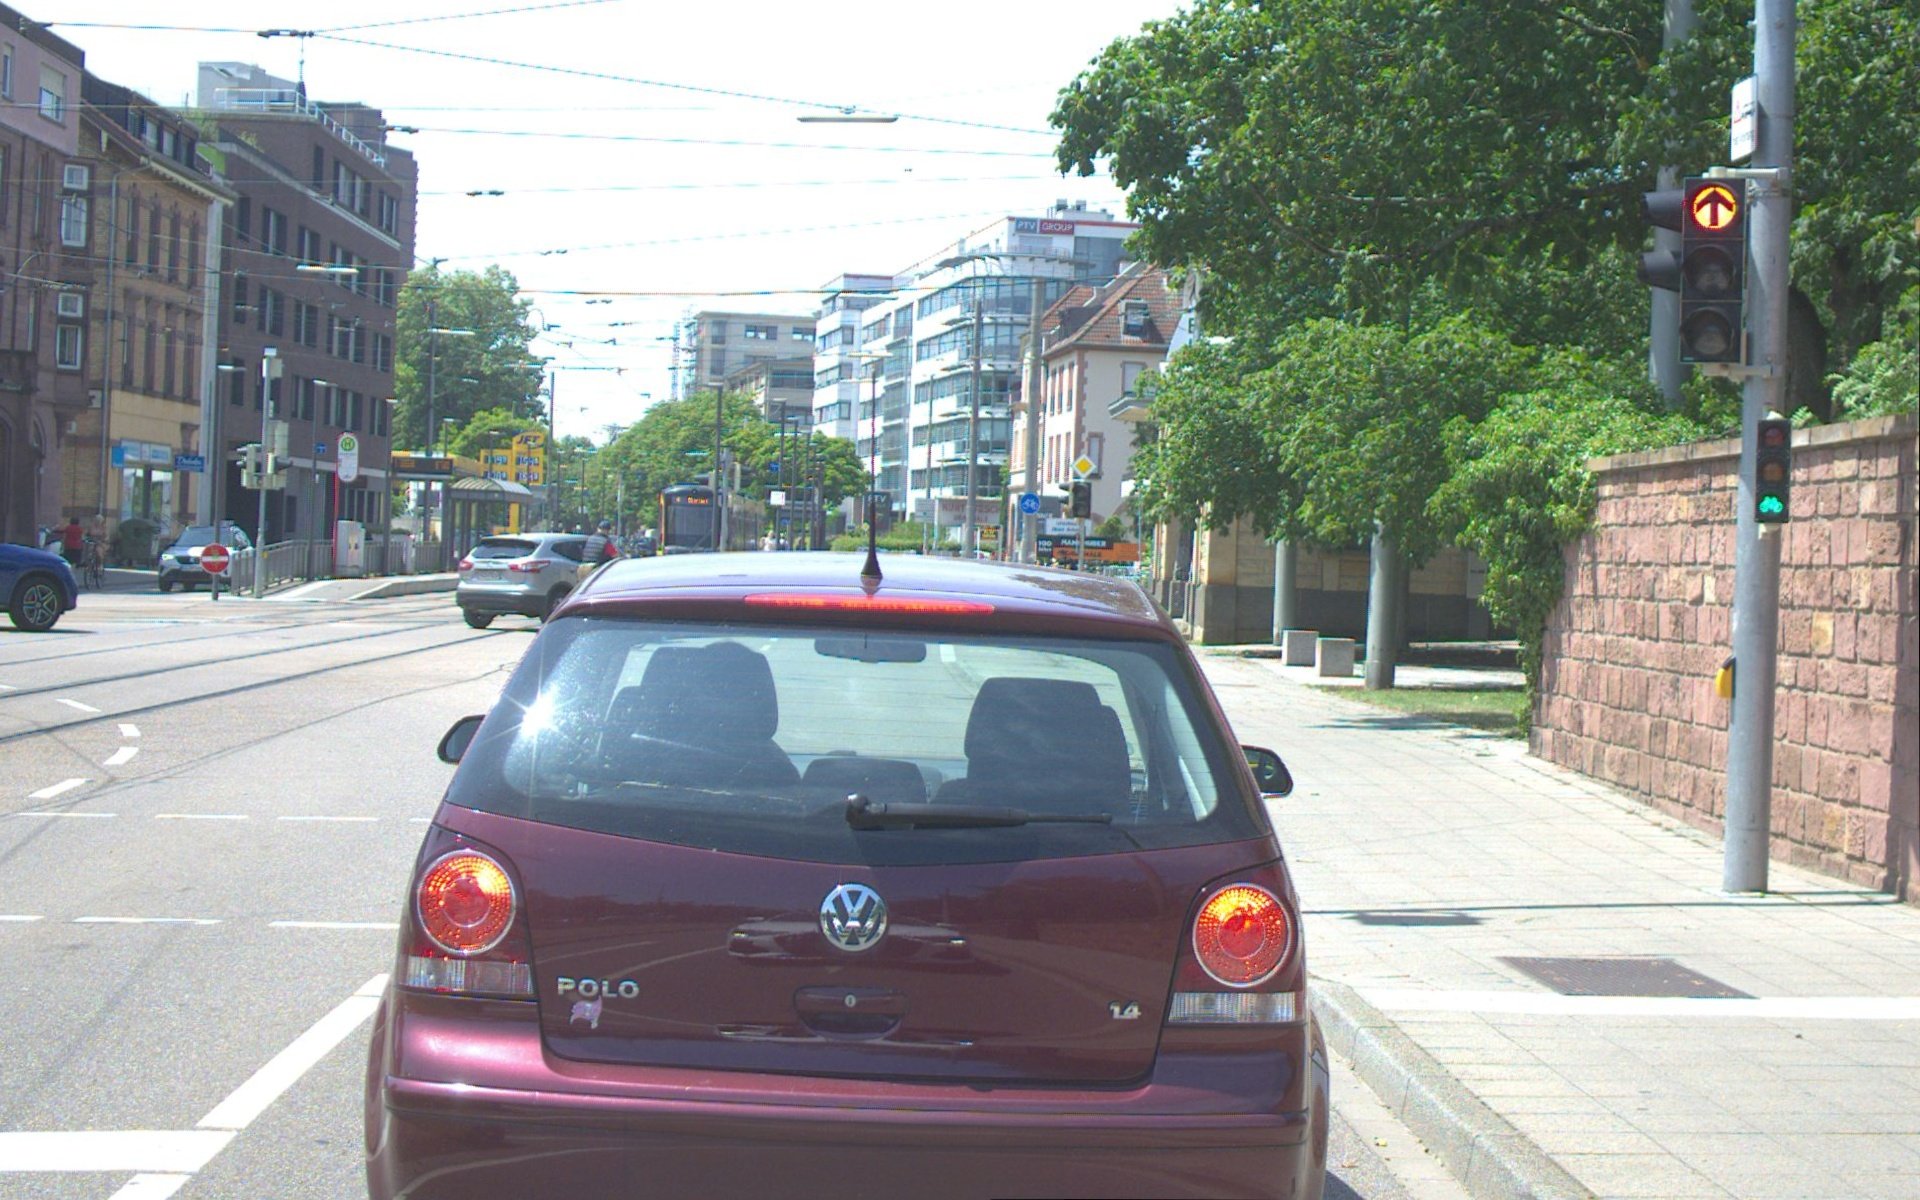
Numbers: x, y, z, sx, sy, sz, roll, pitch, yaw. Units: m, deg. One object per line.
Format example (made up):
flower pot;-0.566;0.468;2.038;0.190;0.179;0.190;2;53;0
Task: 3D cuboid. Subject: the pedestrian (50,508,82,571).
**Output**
pedestrian;-22.425;-1.518;86.242;0.614;1.555;0.640;2;1;-1

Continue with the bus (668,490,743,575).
bus;-9.410;-2.497;127.654;2.233;2.993;6.594;2;1;0

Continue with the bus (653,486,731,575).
bus;-9.404;-2.432;121.077;2.145;2.993;6.574;2;1;0

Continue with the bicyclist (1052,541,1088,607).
bicyclist;2.773;-0.655;86.679;0.857;1.612;0.835;-1;2;-1

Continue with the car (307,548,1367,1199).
car;-0.236;0.656;6.712;1.561;1.448;3.062;2;1;-2

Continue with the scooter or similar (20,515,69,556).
scooter or similar;-24.440;-1.724;91.815;0.488;1.078;1.576;2;1;16

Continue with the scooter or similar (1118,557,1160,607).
scooter or similar;4.361;-0.441;83.701;0.339;1.174;1.468;2;1;-25

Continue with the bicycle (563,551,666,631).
bicycle;-5.231;-0.133;52.150;0.376;1.193;1.901;3;1;35

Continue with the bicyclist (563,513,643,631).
bicyclist;-5.396;-0.425;51.956;0.729;1.754;0.922;3;1;34

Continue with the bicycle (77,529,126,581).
bicycle;-20.210;-1.068;80.963;0.694;1.145;1.932;2;2;-2

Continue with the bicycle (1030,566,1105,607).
bicycle;2.702;-0.343;86.697;1.857;0.999;0.670;-1;2;-1

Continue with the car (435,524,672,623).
car;-6.684;-0.428;56.913;1.826;1.525;3.993;3;1;30

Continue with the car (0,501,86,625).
car;-14.068;-0.544;45.097;4.619;1.619;1.999;1;1;-44

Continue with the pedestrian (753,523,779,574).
pedestrian;-6.543;-1.733;116.134;0.763;1.669;1.100;2;1;0

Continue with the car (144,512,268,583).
car;-17.650;-1.242;80.688;1.993;1.547;4.139;2;1;-1

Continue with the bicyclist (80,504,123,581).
bicyclist;-20.200;-1.365;80.907;0.694;1.759;1.137;2;2;-2
